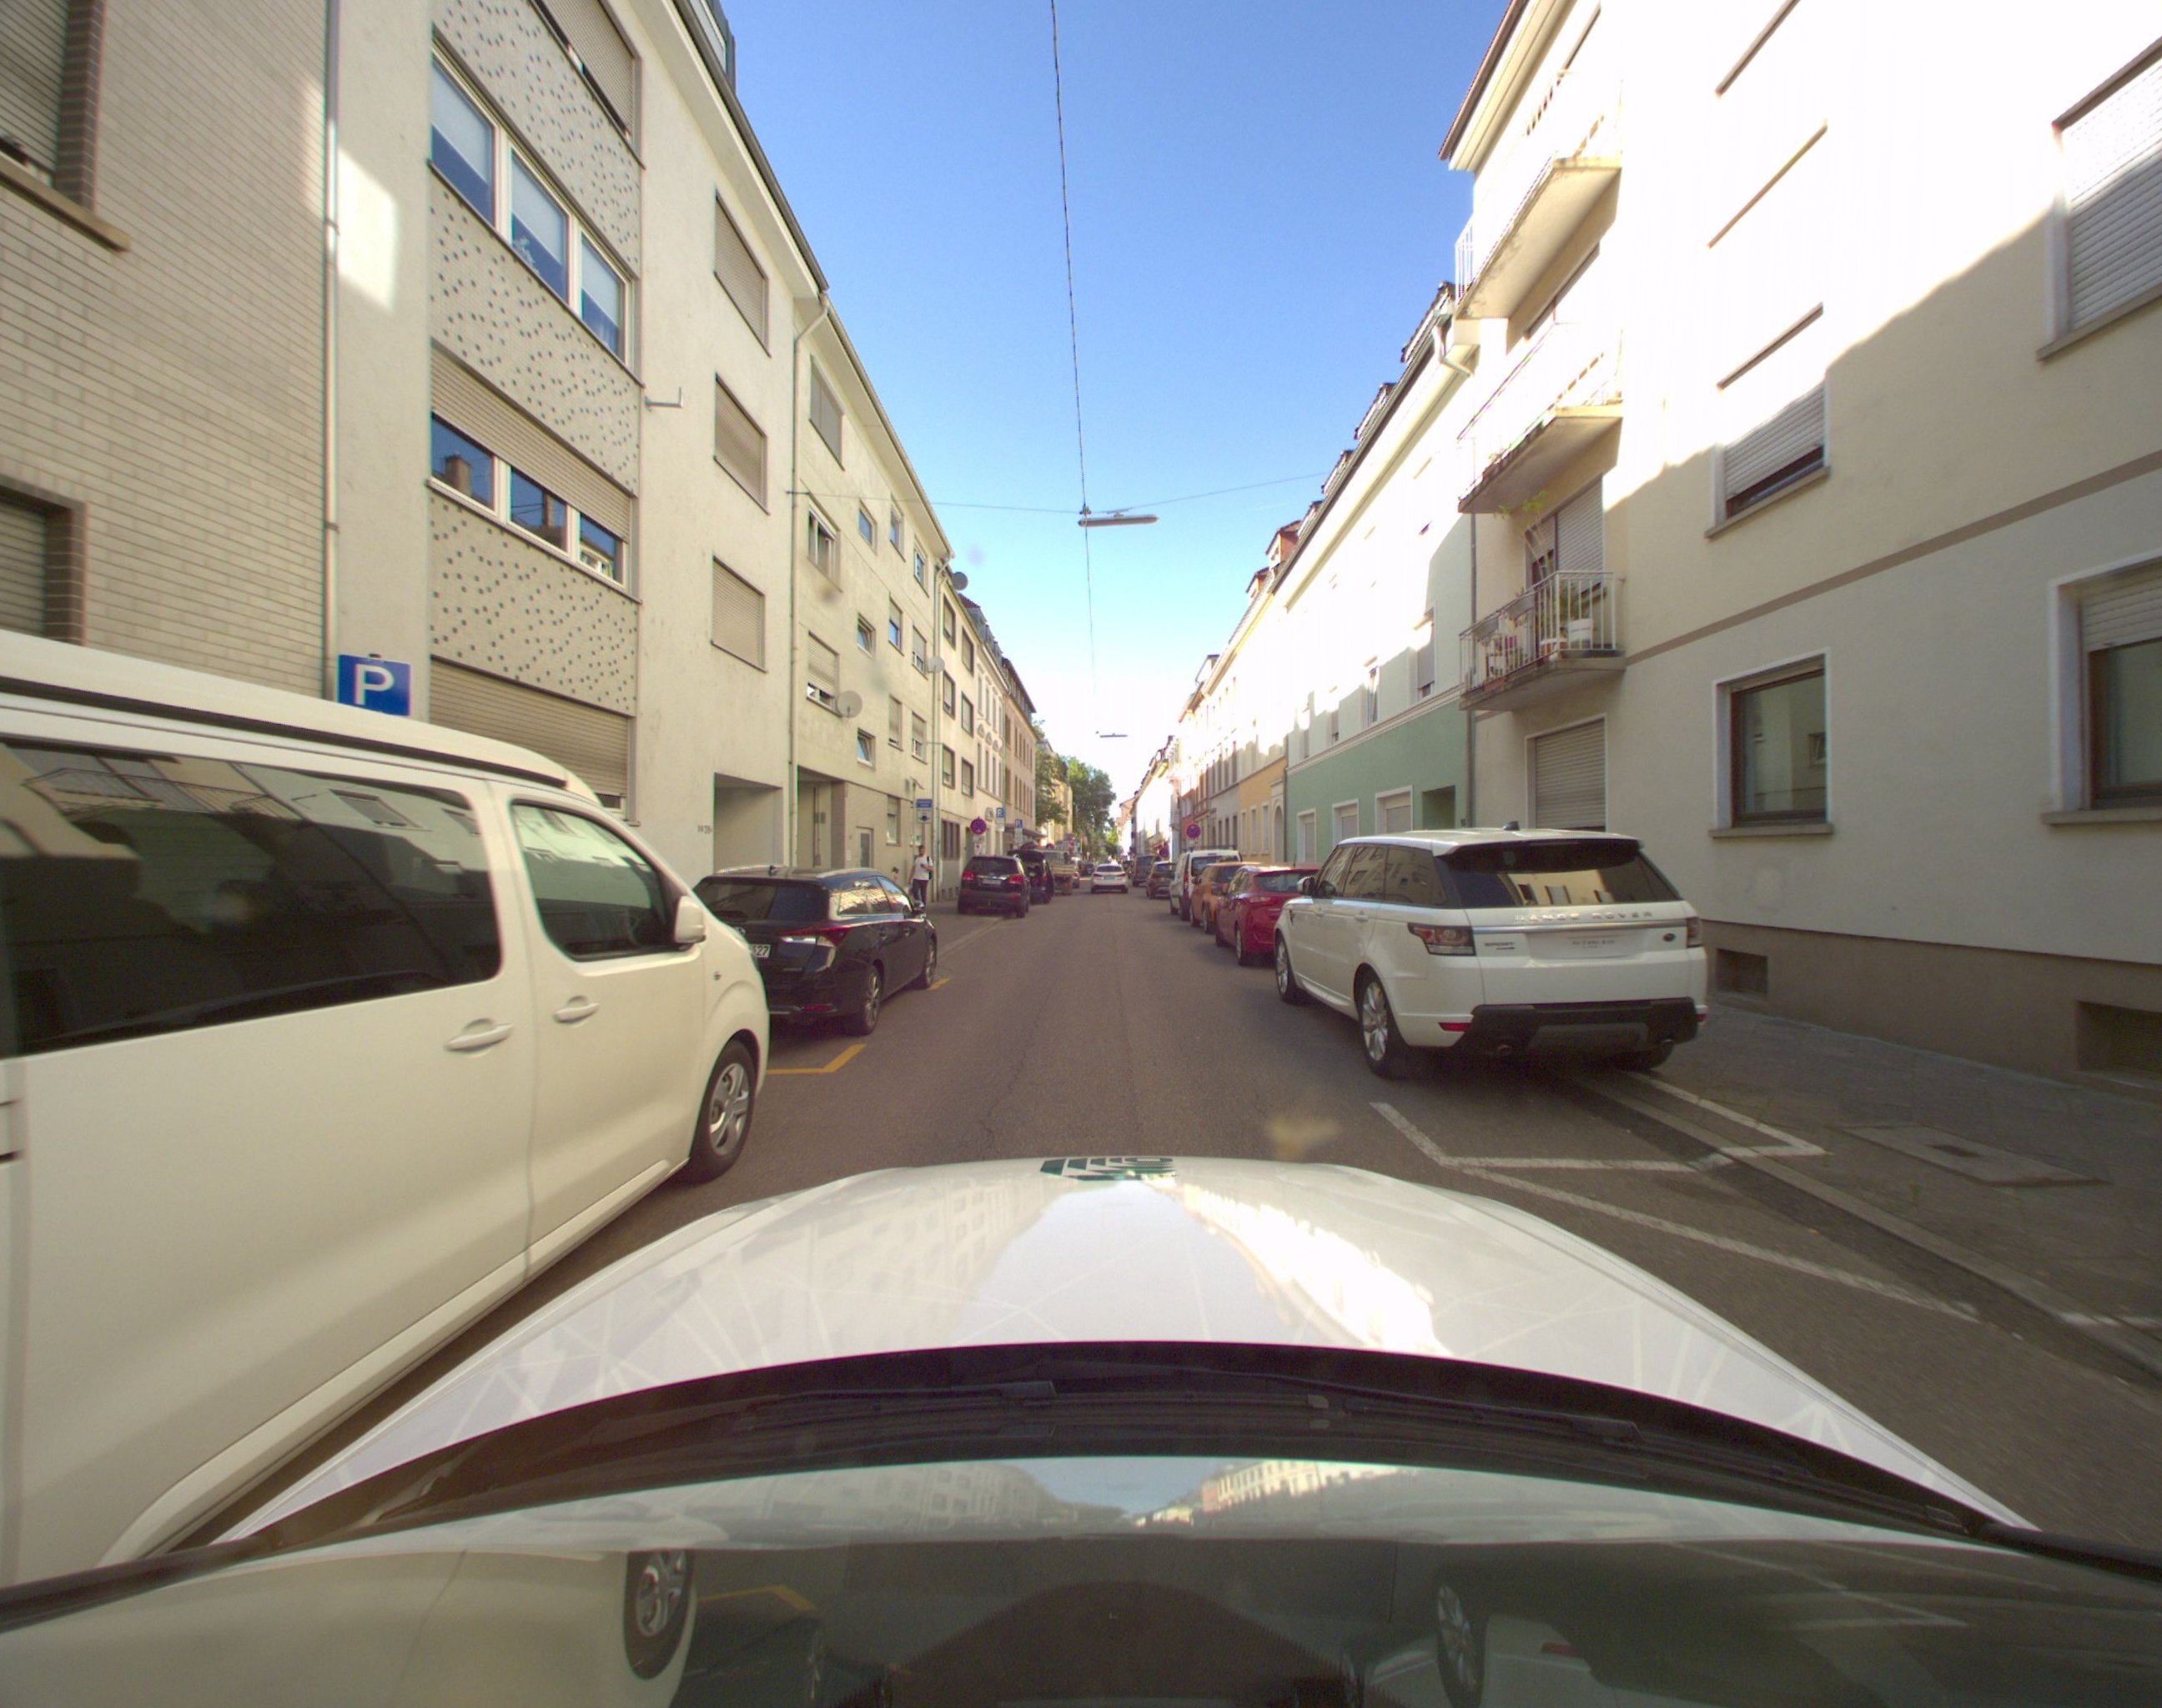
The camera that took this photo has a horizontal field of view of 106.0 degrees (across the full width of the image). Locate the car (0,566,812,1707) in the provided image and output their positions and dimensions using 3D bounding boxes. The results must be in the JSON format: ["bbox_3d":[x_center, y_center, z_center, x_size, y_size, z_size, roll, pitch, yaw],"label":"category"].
[{"bbox_3d":[-2.566,0.526,2.435,1.888,1.958,4.780,2,0,0],"label":"car"}]

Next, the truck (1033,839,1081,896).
[{"bbox_3d":[-1.240,0.706,40.424,2.152,2.590,6.242,-1,-2,-3],"label":"truck"}]

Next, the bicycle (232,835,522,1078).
[{"bbox_3d":[-5.014,0.649,5.990,0.555,1.509,1.799,1,-1,-2],"label":"bicycle"}]

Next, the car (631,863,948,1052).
[{"bbox_3d":[-2.611,0.832,8.477,1.701,1.450,4.301,0,-1,0],"label":"car"}]

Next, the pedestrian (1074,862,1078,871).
[{"bbox_3d":[-0.735,1.933,126.175,0.625,1.464,0.575,-1,-2,2],"label":"pedestrian"}]

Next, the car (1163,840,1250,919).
[{"bbox_3d":[3.368,0.677,22.587,1.776,1.962,4.336,0,-1,1],"label":"car"}]

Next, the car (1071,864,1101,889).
[{"bbox_3d":[0.305,1.386,51.409,1.752,1.416,4.000,-2,-1,0],"label":"car"}]

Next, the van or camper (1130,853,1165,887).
[{"bbox_3d":[4.264,1.033,52.825,1.769,2.036,4.568,-2,-1,0],"label":"van or camper"}]

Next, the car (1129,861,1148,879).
[{"bbox_3d":[5.436,1.502,77.452,1.640,1.577,3.680,0,-1,2],"label":"car"}]

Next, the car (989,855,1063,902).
[{"bbox_3d":[-2.076,0.925,32.593,2.432,1.706,5.244,0,0,2],"label":"car"}]

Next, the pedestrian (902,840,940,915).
[{"bbox_3d":[-4.237,0.621,21.619,0.803,1.934,0.691,-1,-1,1],"label":"pedestrian"}]

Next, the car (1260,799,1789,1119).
[{"bbox_3d":[3.034,0.589,7.051,1.998,1.783,4.940,0,0,1],"label":"car"}]

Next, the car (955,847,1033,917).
[{"bbox_3d":[-2.439,0.745,23.902,1.874,1.755,4.539,3,0,-2],"label":"car"}]

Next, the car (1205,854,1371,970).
[{"bbox_3d":[3.140,0.797,13.163,1.736,1.569,4.033,-1,0,1],"label":"car"}]

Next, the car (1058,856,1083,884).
[{"bbox_3d":[-0.737,1.110,57.216,1.642,1.868,3.998,0,-1,-1],"label":"car"}]

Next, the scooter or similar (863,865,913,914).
[{"bbox_3d":[-5.179,0.940,21.891,0.433,1.278,1.241,-2,-1,42],"label":"scooter or similar"}]

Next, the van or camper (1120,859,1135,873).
[{"bbox_3d":[6.592,1.766,115.394,1.986,1.926,4.001,-1,-2,2],"label":"van or camper"}]

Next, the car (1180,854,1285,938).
[{"bbox_3d":[3.226,0.850,18.003,1.576,1.632,3.680,1,0,-1],"label":"car"}]

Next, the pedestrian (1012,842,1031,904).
[{"bbox_3d":[-2.170,0.699,29.716,0.616,2.229,0.688,-1,-2,2],"label":"pedestrian"}]

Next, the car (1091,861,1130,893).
[{"bbox_3d":[1.490,1.130,40.754,1.826,1.486,4.059,-1,-1,3],"label":"car"}]

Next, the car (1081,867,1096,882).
[{"bbox_3d":[0.846,2.335,92.456,1.618,1.597,3.582,0,-1,2],"label":"car"}]

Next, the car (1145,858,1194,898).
[{"bbox_3d":[3.754,0.974,35.122,1.733,1.577,4.379,0,0,1],"label":"car"}]
